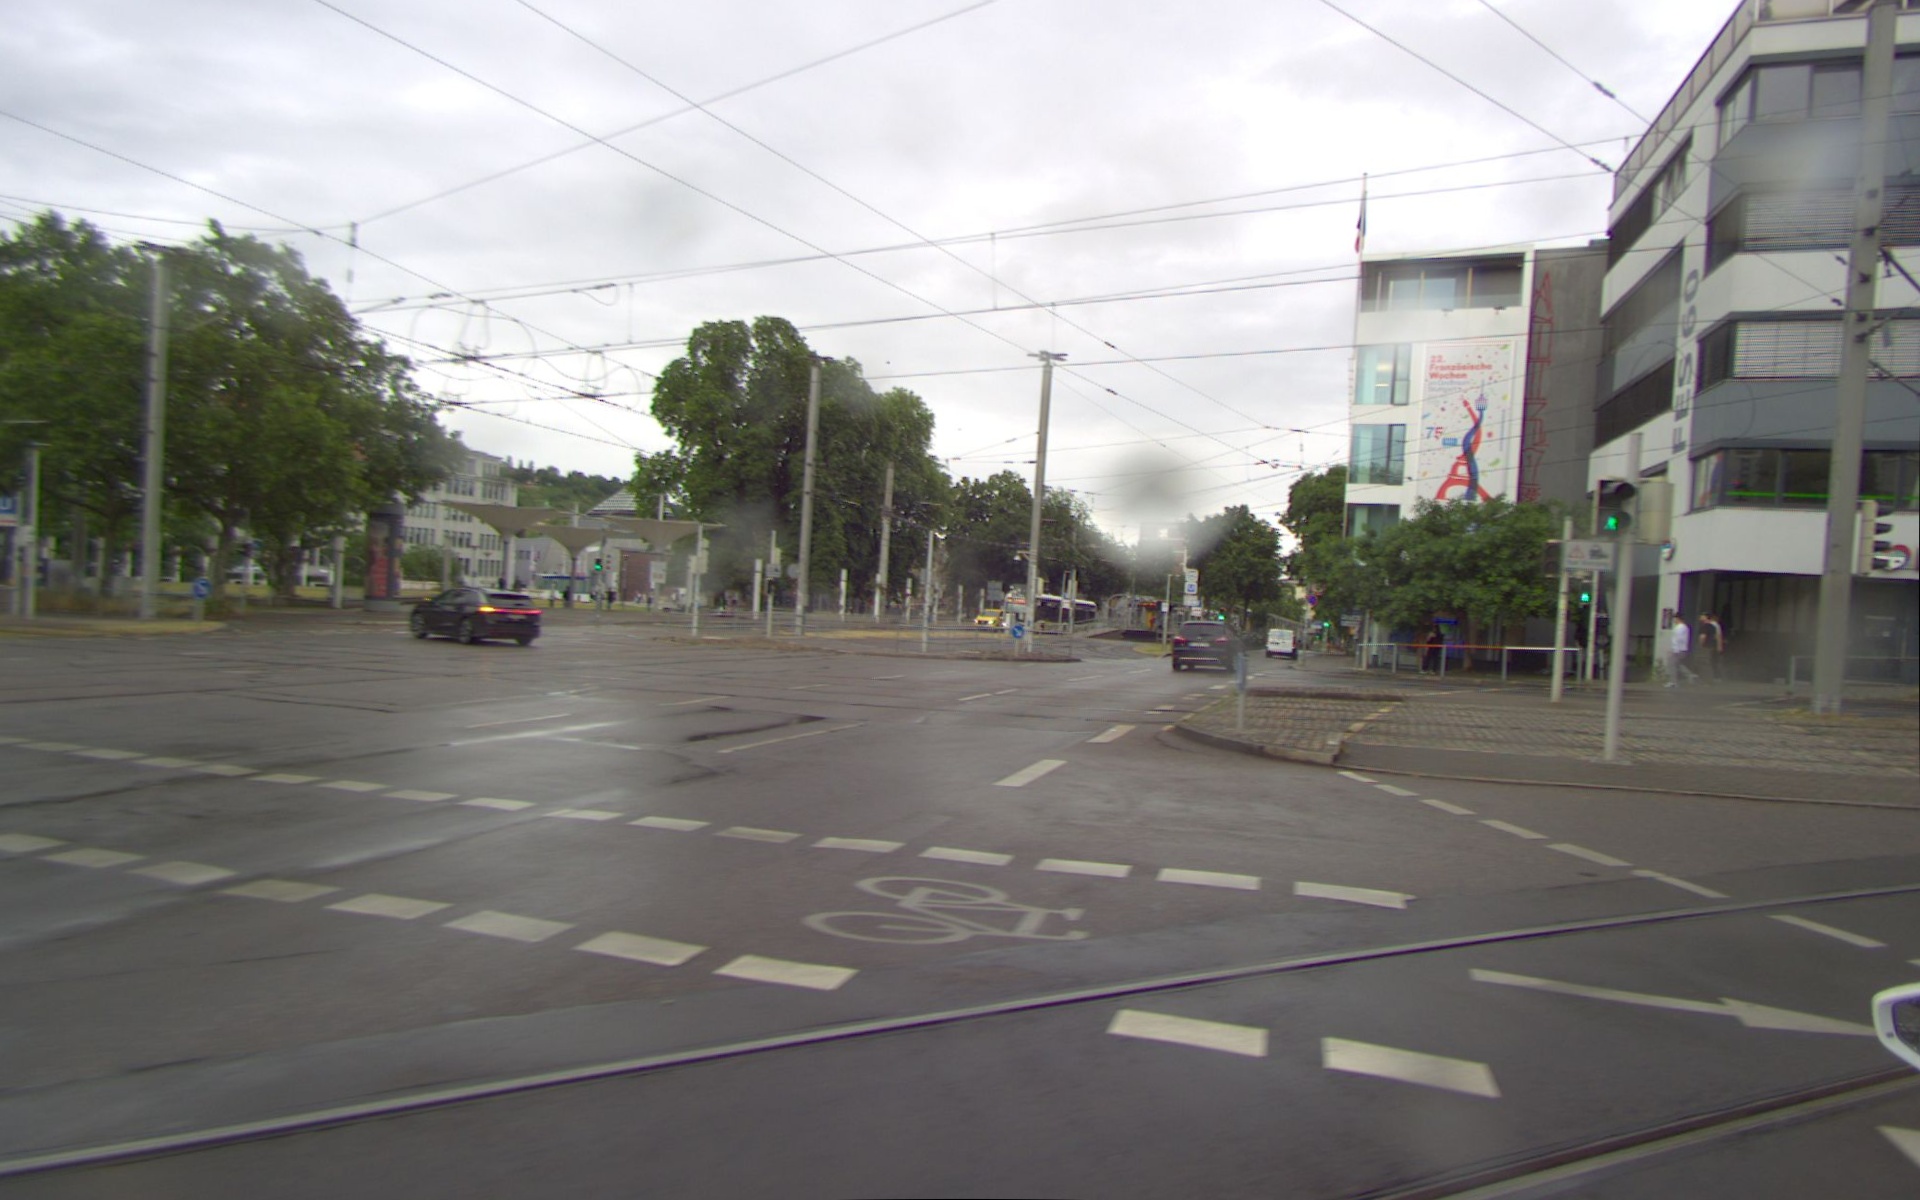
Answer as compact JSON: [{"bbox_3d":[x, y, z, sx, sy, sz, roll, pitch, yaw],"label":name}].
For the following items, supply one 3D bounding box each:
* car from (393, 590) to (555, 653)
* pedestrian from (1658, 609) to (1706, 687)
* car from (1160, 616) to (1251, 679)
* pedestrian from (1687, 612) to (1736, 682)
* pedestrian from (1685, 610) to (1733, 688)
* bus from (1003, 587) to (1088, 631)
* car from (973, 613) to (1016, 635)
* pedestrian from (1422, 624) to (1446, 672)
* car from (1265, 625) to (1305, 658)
[{"bbox_3d":[-13.628,0.560,28.088,4.654,1.526,2.099,2,0,36],"label":"car"},{"bbox_3d":[18.402,1.221,25.598,0.690,1.939,0.713,2,0,-29],"label":"pedestrian"},{"bbox_3d":[7.538,1.373,30.542,2.003,1.605,4.390,4,1,22],"label":"car"},{"bbox_3d":[19.529,1.217,26.104,0.688,1.785,0.715,2,0,-22],"label":"pedestrian"},{"bbox_3d":[19.171,1.241,25.704,0.690,1.939,0.713,2,0,-29],"label":"pedestrian"},{"bbox_3d":[7.399,0.840,84.475,3.028,3.344,12.514,2,0,24],"label":"bus"},{"bbox_3d":[2.864,1.965,81.555,1.961,1.667,4.534,2,0,23],"label":"car"},{"bbox_3d":[16.096,1.632,34.104,0.535,1.584,0.518,2,0,43],"label":"pedestrian"},{"bbox_3d":[21.367,2.683,65.964,2.003,1.864,4.389,4,1,24],"label":"car"}]
